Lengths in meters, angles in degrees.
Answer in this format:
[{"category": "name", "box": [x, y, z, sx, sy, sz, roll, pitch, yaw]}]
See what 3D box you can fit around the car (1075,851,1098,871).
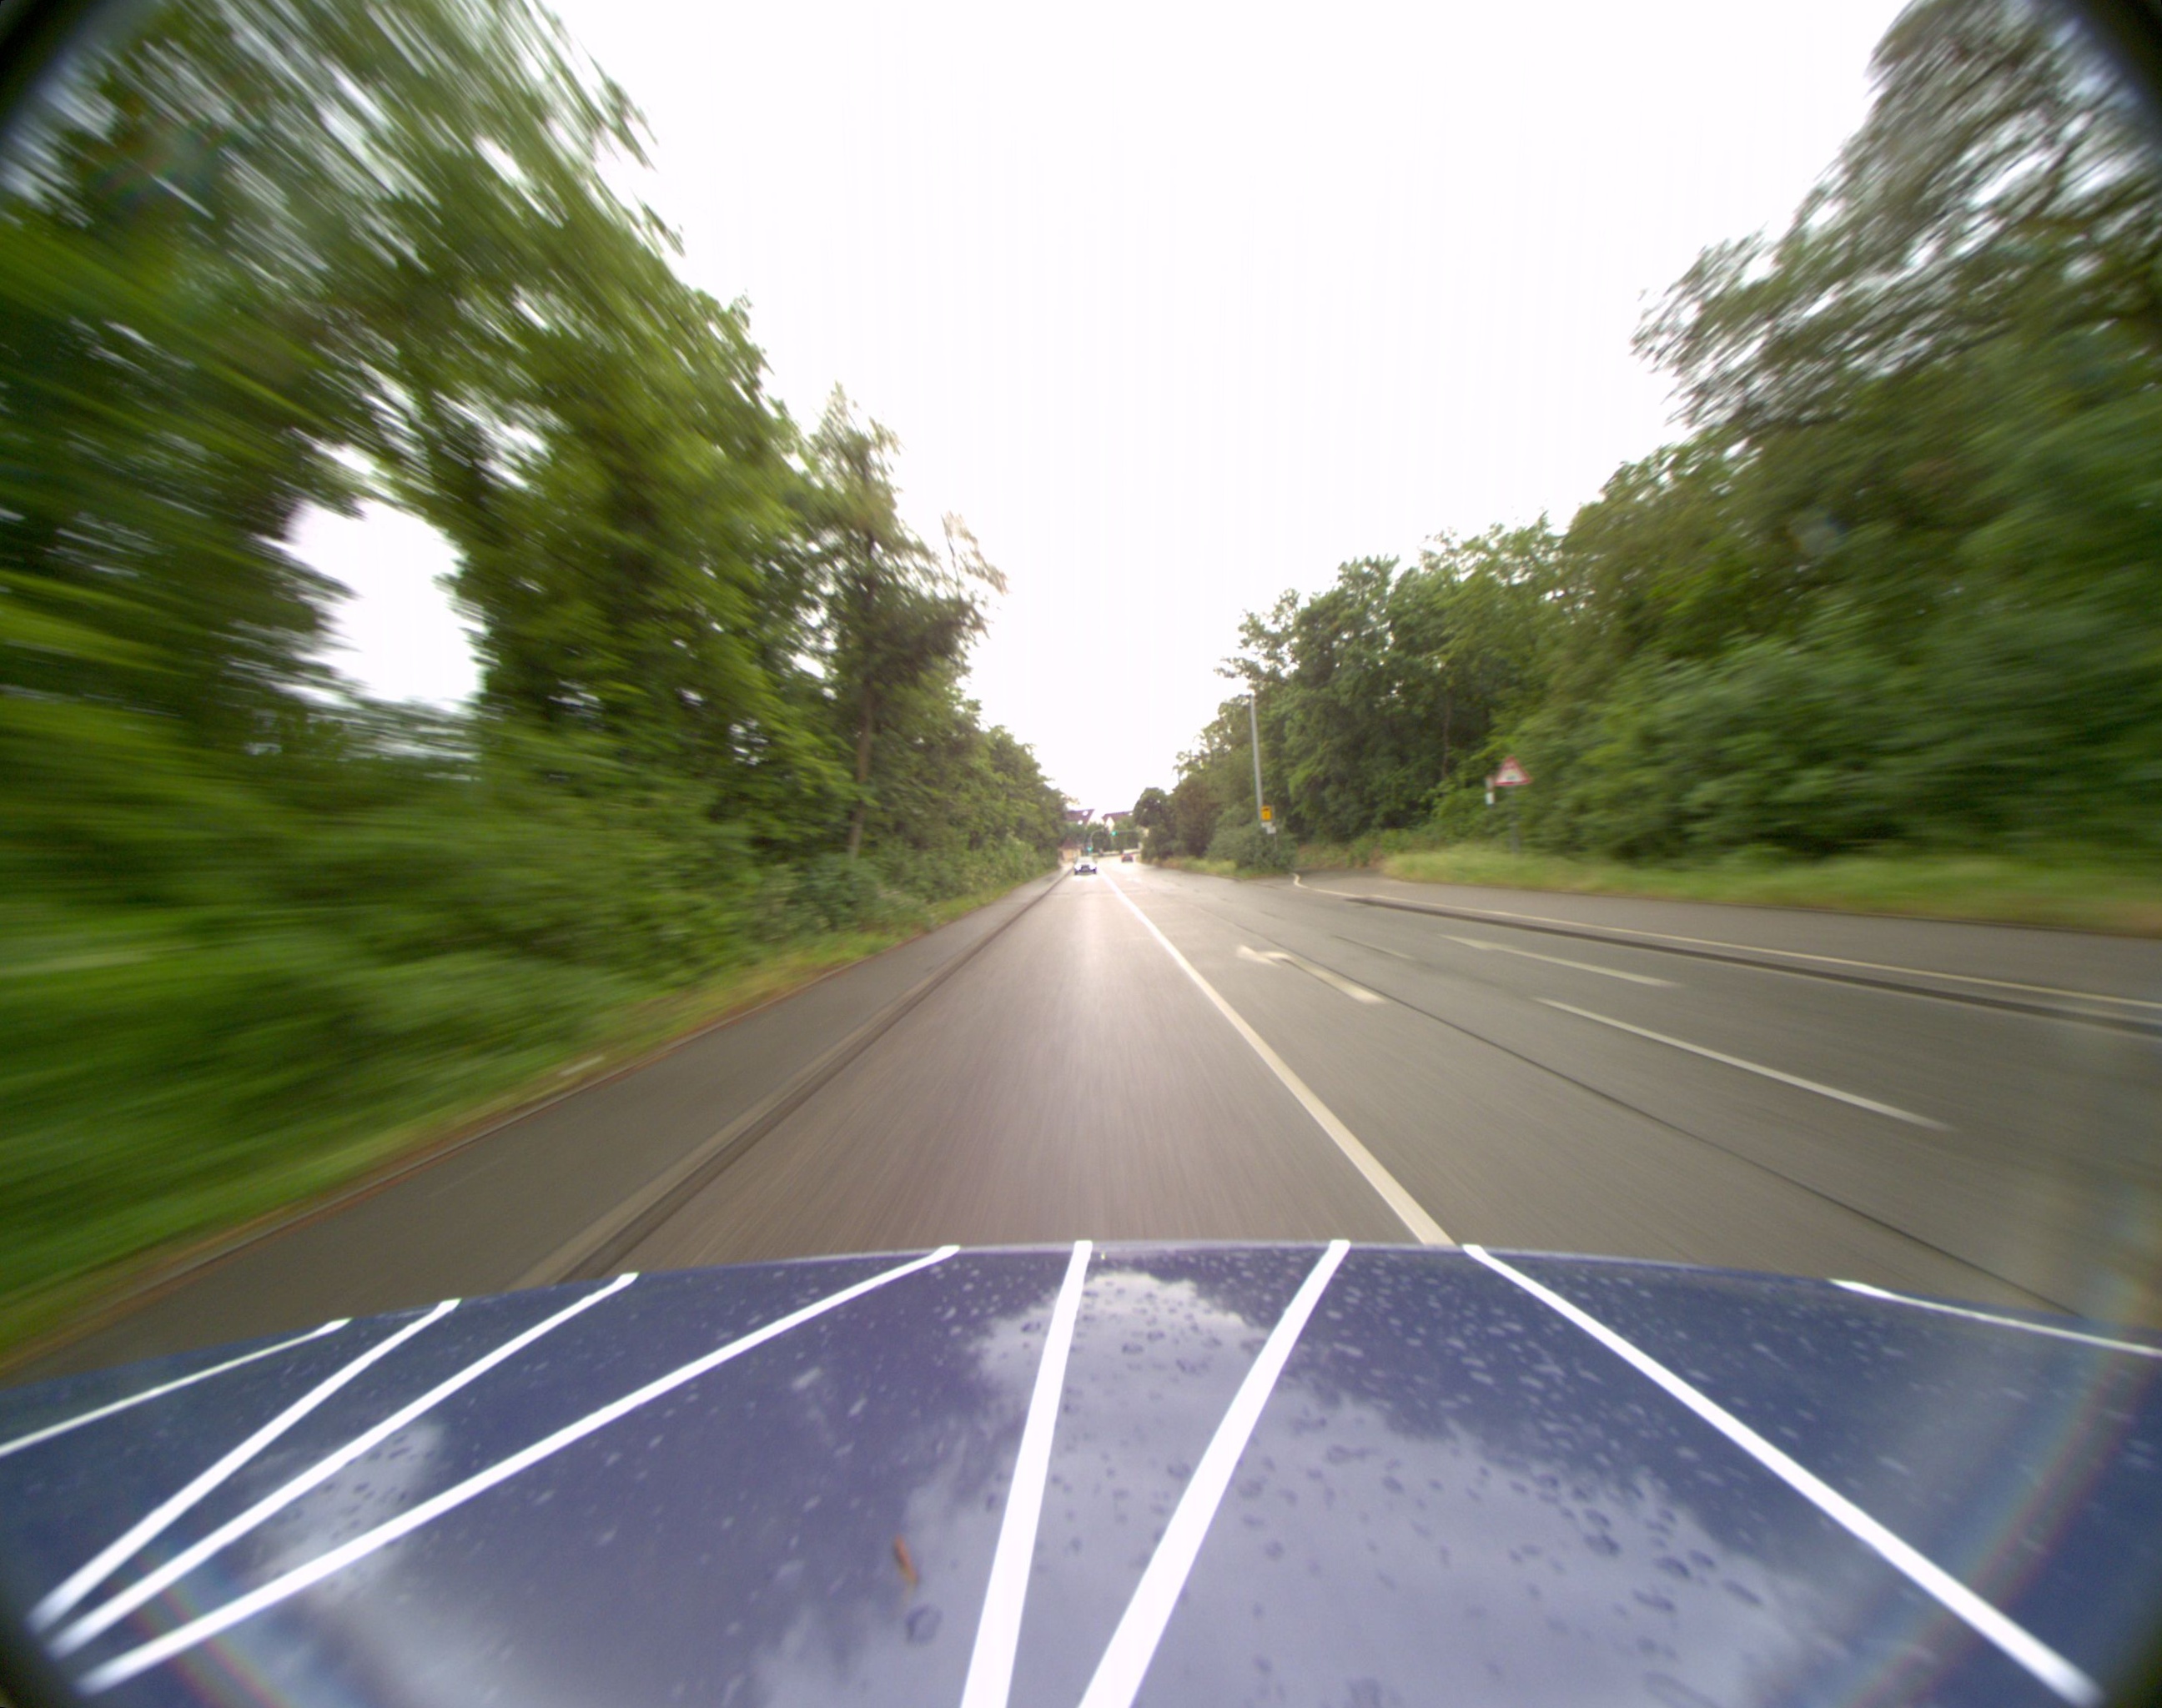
[{"category": "car", "box": [0.492, 0.638, 62.157, 1.831, 1.511, 4.002, 1, -2, 1]}]
